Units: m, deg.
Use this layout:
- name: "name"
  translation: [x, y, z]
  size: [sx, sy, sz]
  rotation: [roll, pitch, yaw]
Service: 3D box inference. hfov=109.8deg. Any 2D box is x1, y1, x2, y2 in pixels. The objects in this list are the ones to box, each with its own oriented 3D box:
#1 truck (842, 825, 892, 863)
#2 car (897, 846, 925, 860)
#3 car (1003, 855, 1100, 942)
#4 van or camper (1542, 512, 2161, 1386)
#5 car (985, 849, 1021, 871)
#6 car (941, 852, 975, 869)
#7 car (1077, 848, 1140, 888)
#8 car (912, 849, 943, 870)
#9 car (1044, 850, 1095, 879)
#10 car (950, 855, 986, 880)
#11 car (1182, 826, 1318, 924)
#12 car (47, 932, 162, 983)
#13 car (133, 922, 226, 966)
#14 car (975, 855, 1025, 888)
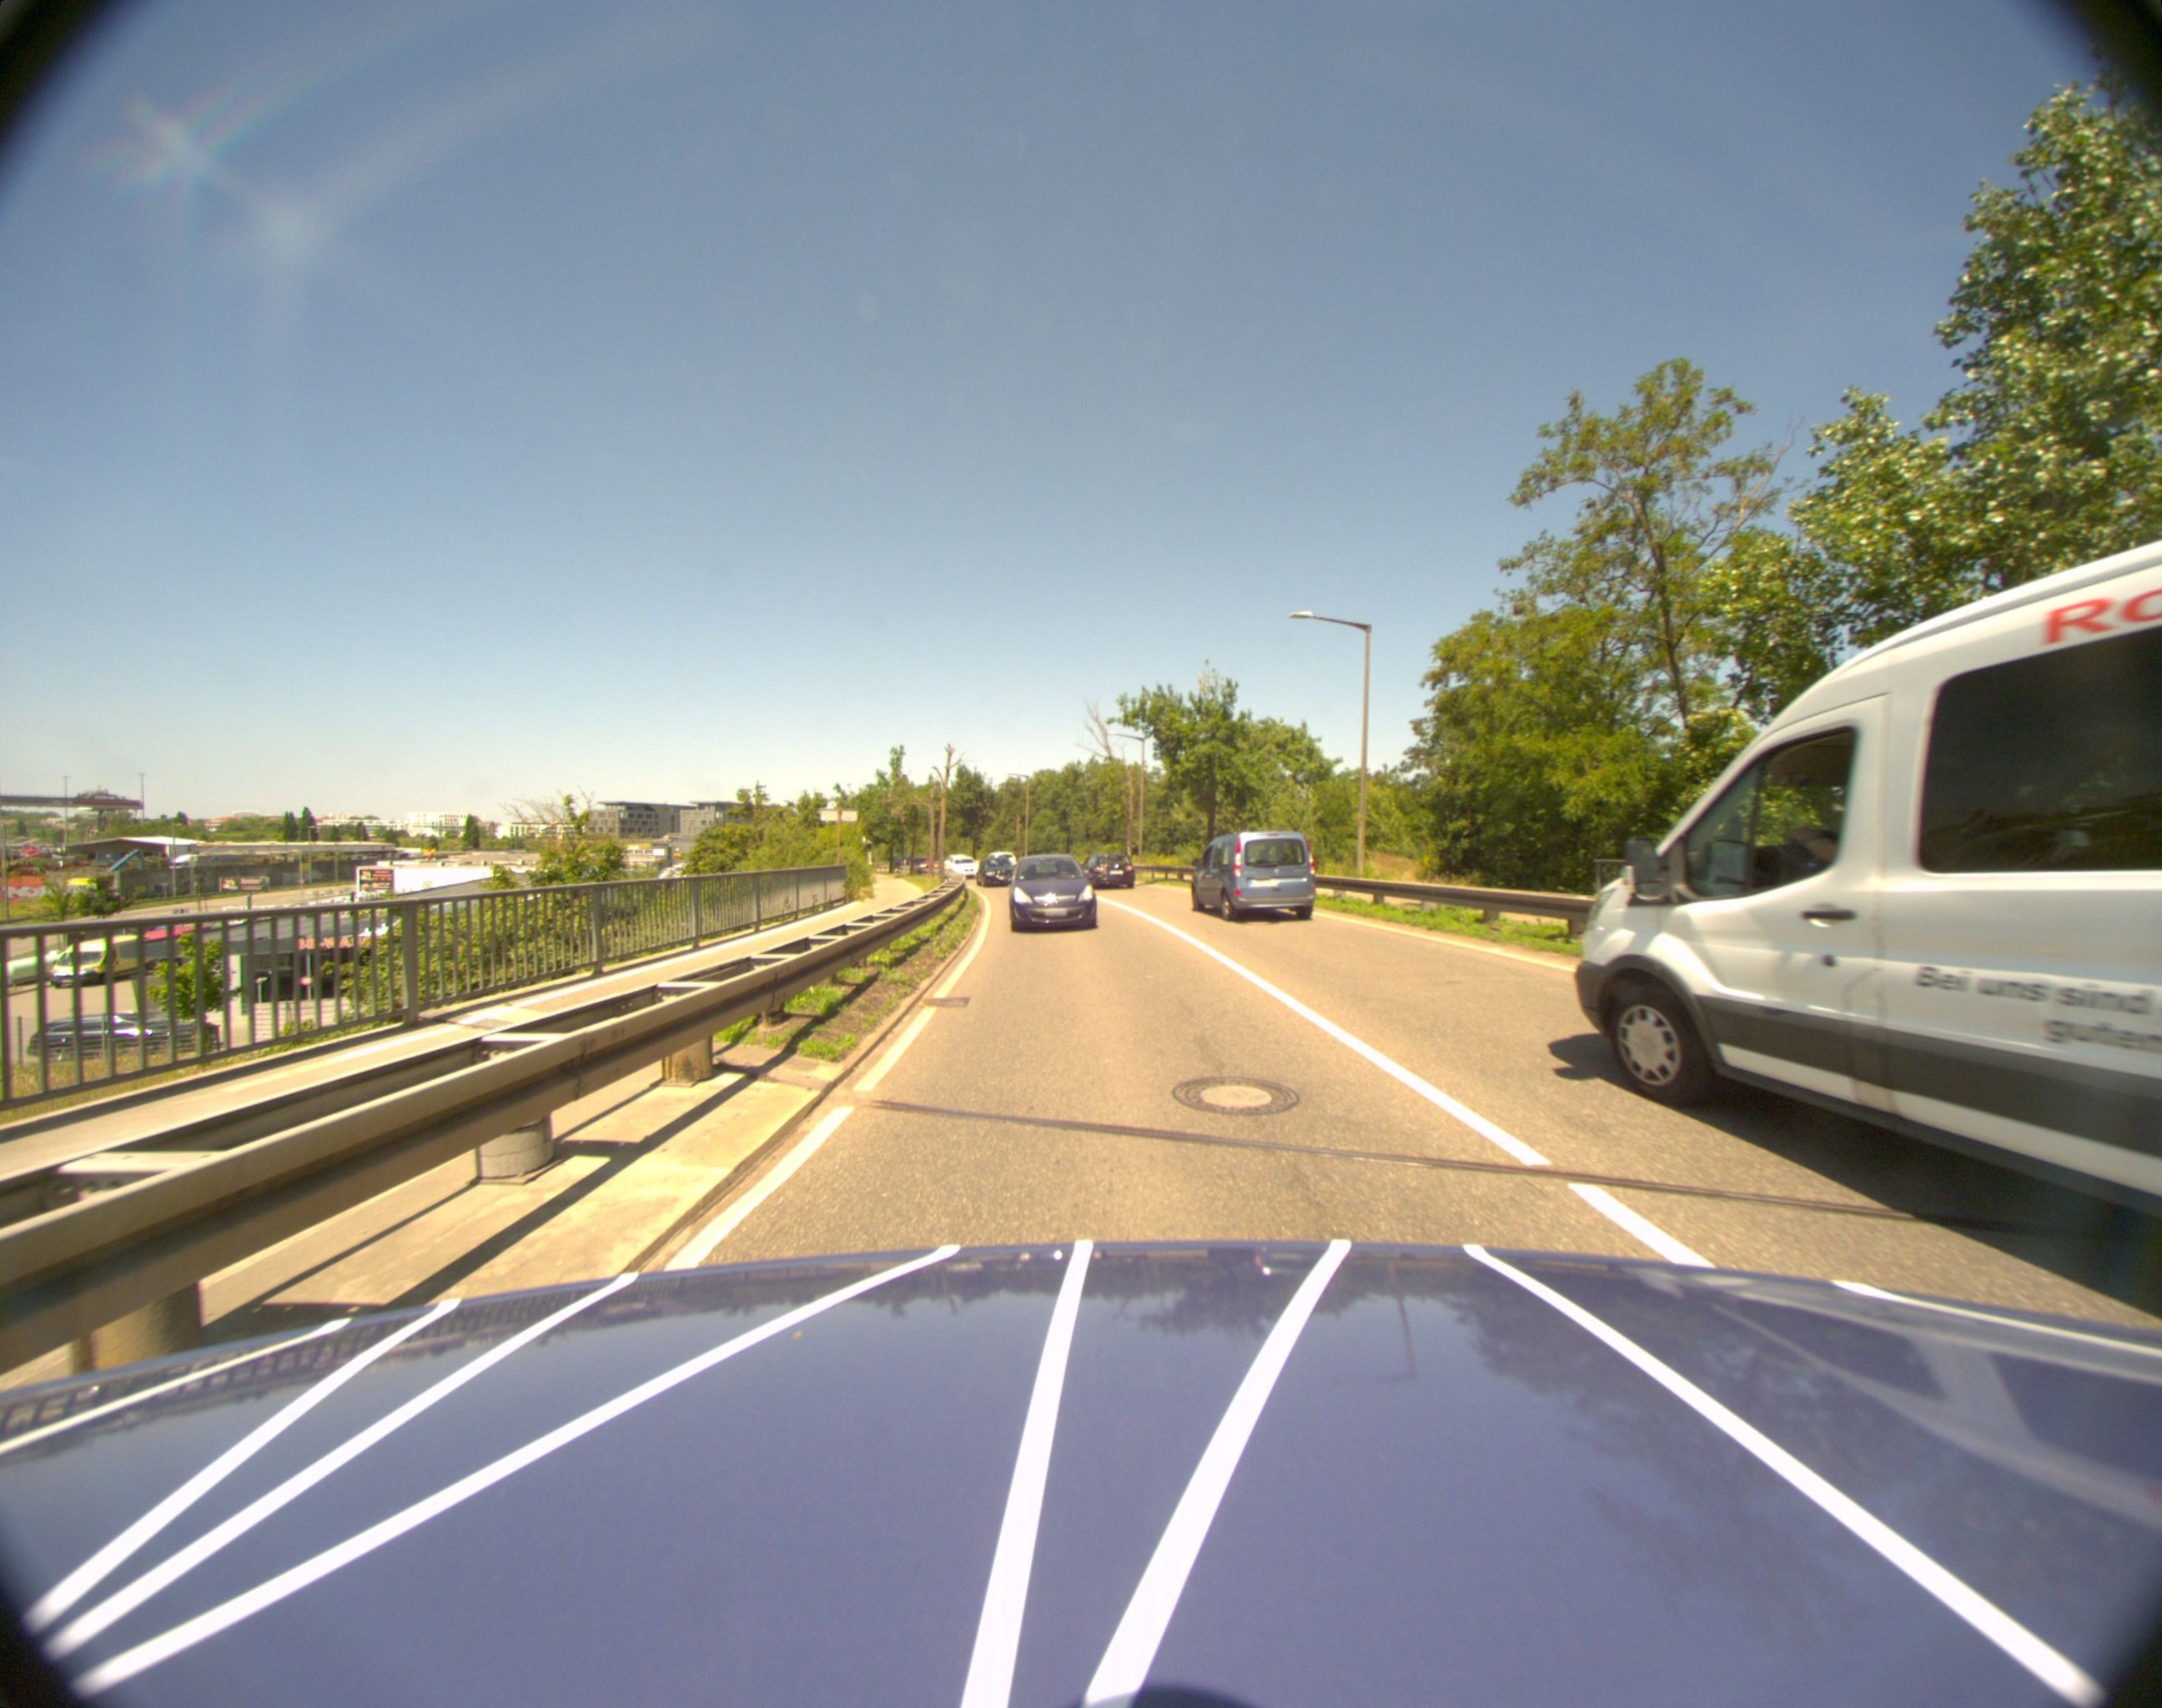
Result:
- name: "truck"
  translation: [-25.589, -1.109, 90.621]
  size: [2.864, 4.244, 8.793]
  rotation: [-3, 1, -35]
- name: "car"
  translation: [-19.005, -0.146, 84.778]
  size: [1.854, 1.459, 4.730]
  rotation: [-3, 1, -27]
- name: "car"
  translation: [-0.690, 0.806, 15.841]
  size: [1.699, 1.459, 4.381]
  rotation: [-2, 1, -4]
- name: "van or camper"
  translation: [4.128, 0.252, 2.161]
  size: [2.053, 2.523, 5.883]
  rotation: [-2, 1, 1]
- name: "car"
  translation: [-6.004, 0.452, 58.153]
  size: [1.753, 1.537, 4.385]
  rotation: [-2, 1, -19]
- name: "car"
  translation: [-11.428, 0.598, 70.206]
  size: [1.709, 1.438, 4.449]
  rotation: [-3, 1, -28]
- name: "car"
  translation: [1.025, 0.498, 31.124]
  size: [1.762, 1.434, 4.564]
  rotation: [-2, 1, -8]
- name: "car"
  translation: [-13.506, 0.439, 66.744]
  size: [1.904, 1.645, 4.248]
  rotation: [-2, 2, -22]
- name: "car"
  translation: [-0.691, 0.535, 41.302]
  size: [1.723, 1.419, 4.101]
  rotation: [-1, 1, -16]
- name: "car"
  translation: [-7.349, 0.844, 49.312]
  size: [1.819, 1.420, 3.710]
  rotation: [-2, 1, -15]
- name: "car"
  translation: [3.556, 0.370, 16.794]
  size: [1.762, 1.844, 4.273]
  rotation: [-2, 1, -4]
- name: "car"
  translation: [-59.974, 6.290, 46.834]
  size: [2.155, 2.339, 4.919]
  rotation: [-7, 2, -25]
- name: "car"
  translation: [-62.887, 6.222, 53.144]
  size: [2.155, 2.339, 4.919]
  rotation: [-7, 2, -26]
- name: "car"
  translation: [-3.989, 0.789, 36.721]
  size: [1.571, 1.408, 4.116]
  rotation: [-2, 1, -17]
